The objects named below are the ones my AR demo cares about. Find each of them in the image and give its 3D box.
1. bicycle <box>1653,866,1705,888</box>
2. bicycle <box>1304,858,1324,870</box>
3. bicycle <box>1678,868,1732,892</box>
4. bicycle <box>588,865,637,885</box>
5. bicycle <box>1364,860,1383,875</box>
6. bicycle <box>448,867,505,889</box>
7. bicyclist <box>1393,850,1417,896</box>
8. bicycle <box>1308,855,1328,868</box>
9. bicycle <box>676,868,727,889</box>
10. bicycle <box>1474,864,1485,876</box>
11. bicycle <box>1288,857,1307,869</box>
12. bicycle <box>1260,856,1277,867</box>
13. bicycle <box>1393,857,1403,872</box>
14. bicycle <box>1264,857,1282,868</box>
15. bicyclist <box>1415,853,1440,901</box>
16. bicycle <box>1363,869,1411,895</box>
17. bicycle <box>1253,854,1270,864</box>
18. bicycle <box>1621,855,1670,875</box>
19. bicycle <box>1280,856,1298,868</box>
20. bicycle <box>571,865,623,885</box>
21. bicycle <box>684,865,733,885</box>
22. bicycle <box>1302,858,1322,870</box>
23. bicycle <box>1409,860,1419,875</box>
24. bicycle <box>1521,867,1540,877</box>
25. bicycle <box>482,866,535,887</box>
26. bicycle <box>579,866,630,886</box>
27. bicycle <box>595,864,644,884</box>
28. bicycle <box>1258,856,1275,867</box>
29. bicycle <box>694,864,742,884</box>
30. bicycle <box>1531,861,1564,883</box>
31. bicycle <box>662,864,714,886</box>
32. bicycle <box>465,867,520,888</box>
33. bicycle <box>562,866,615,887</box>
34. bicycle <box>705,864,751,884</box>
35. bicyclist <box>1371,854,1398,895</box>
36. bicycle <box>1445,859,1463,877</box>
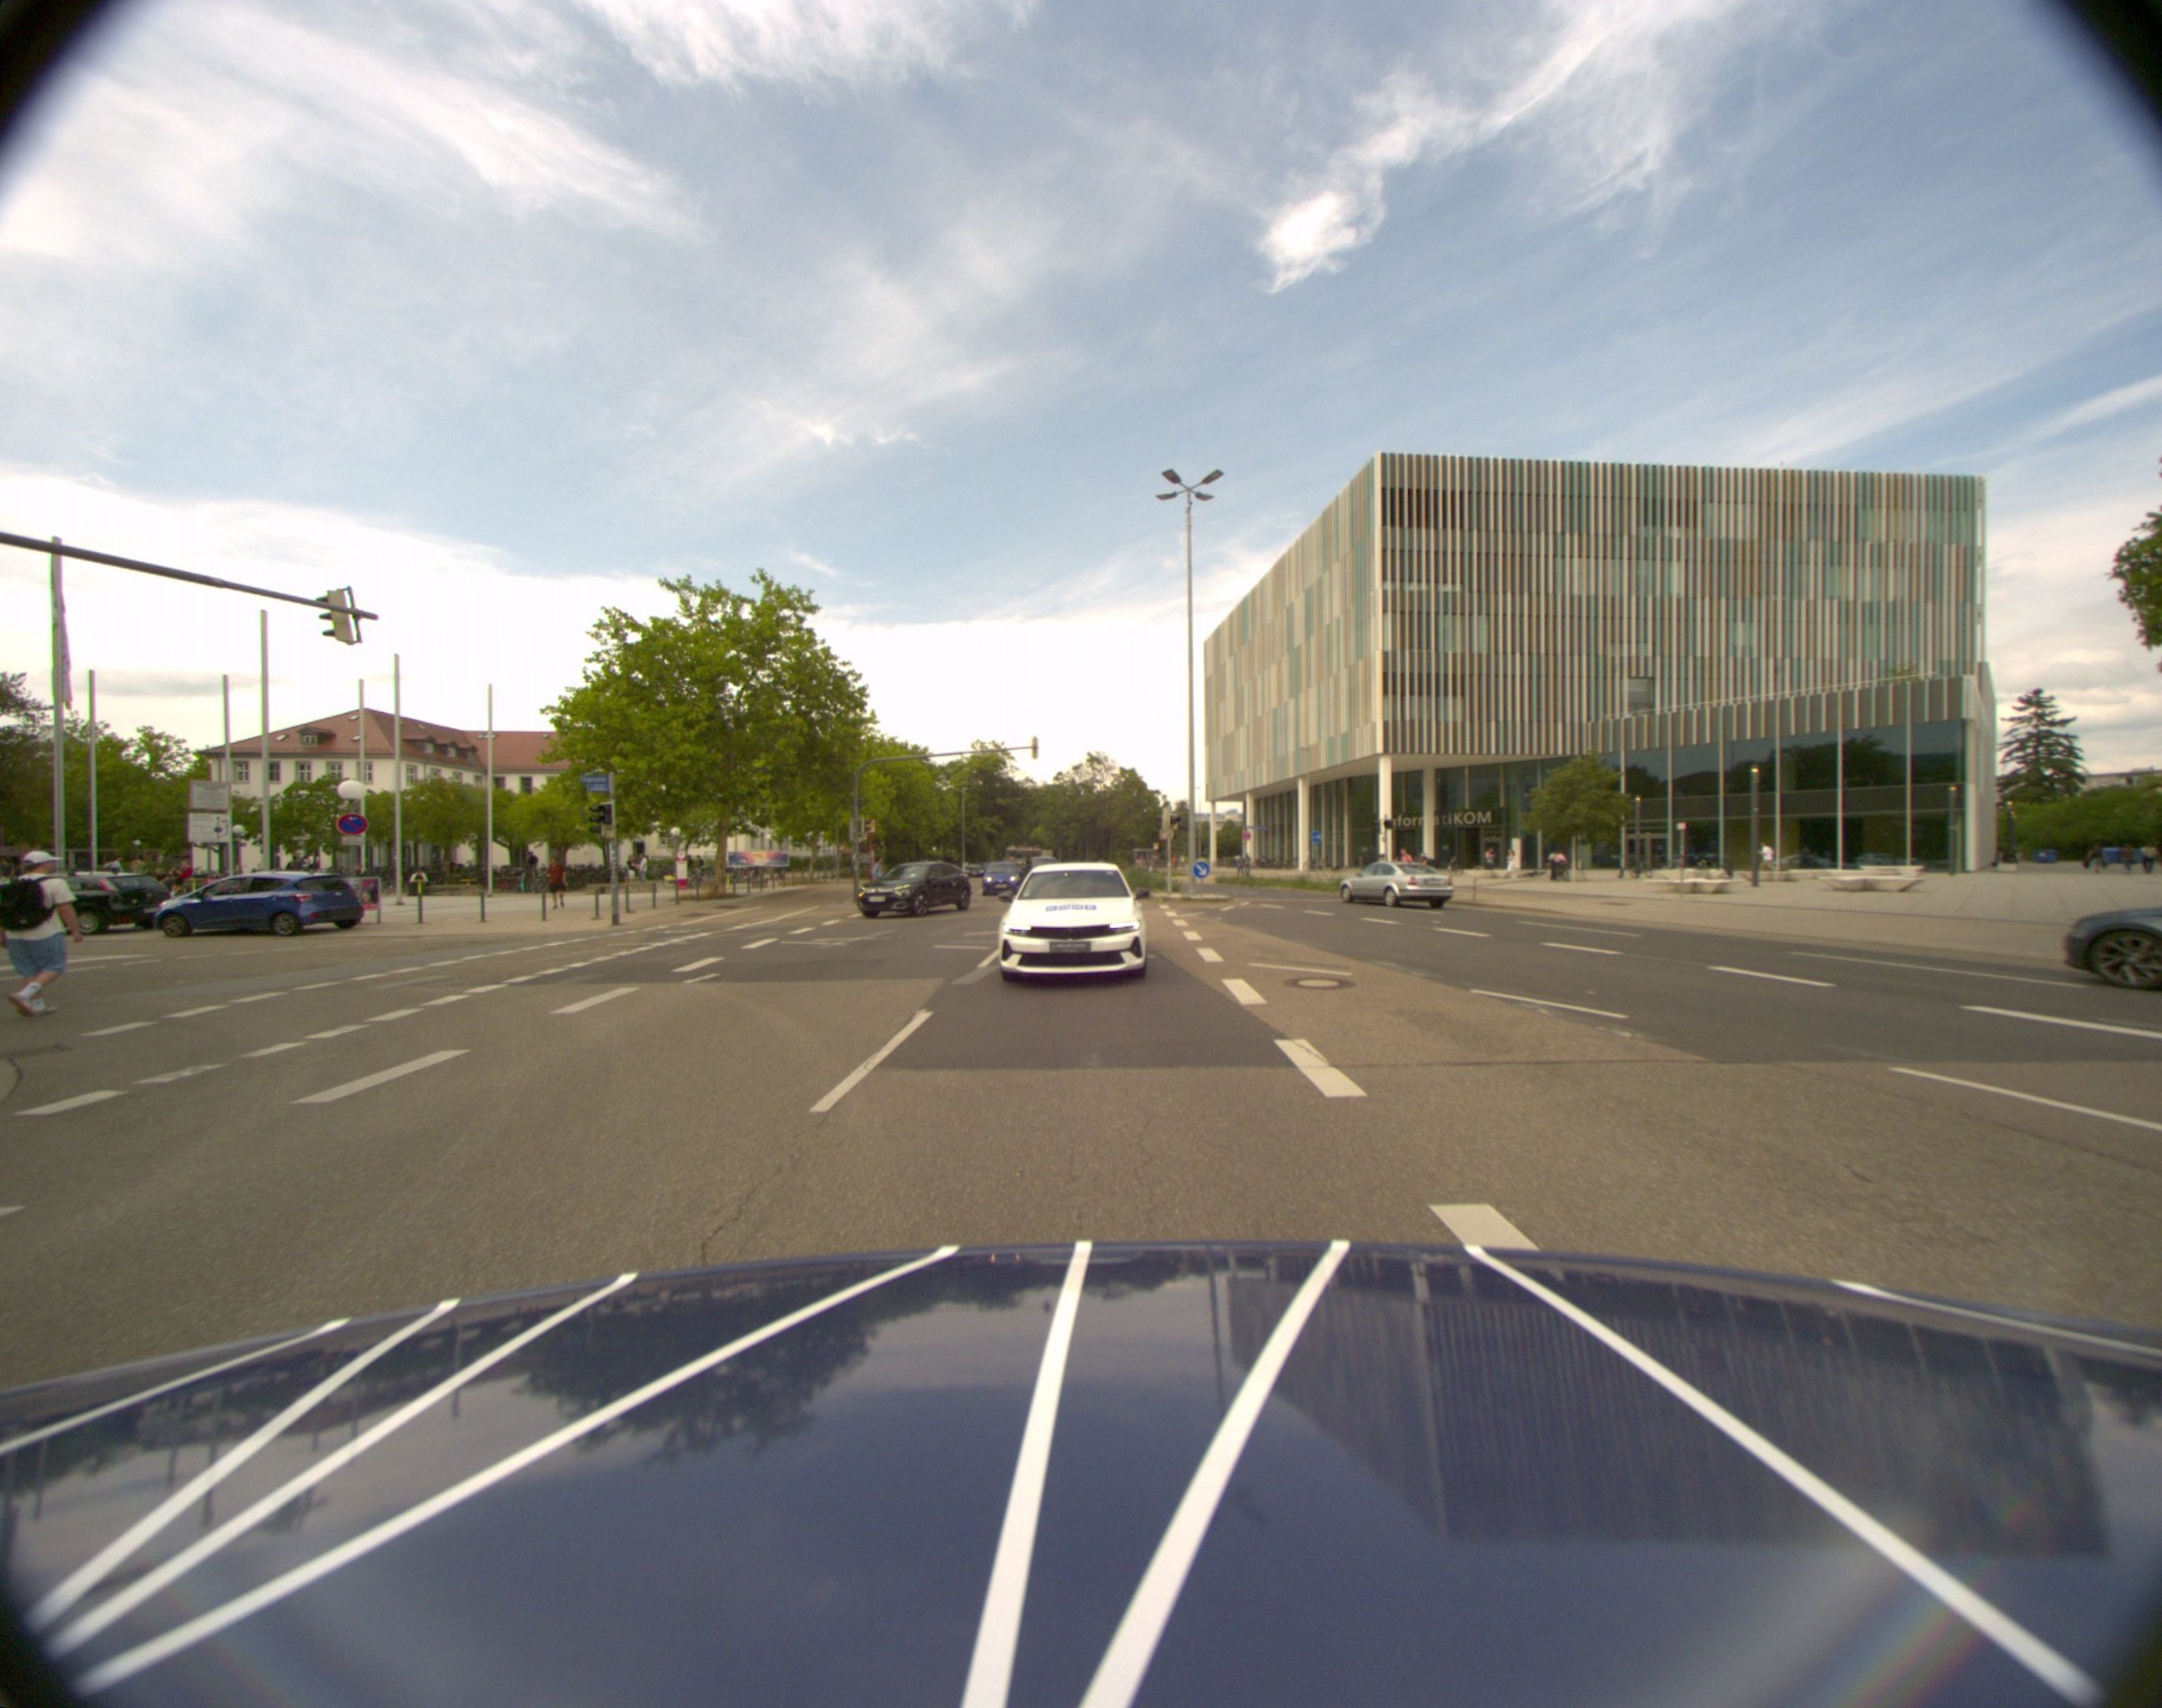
[{"bbox_3d":[30.527,1.157,38.786,2.685,1.083,0.796,-1,0,-20],"label":"bicycle"},{"bbox_3d":[19.139,0.815,62.324,1.546,0.932,0.394,-3,1,-10],"label":"bicycle"},{"bbox_3d":[30.858,1.285,37.556,2.685,1.083,0.796,-1,0,-20],"label":"bicycle"},{"bbox_3d":[-28.182,1.281,45.715,2.473,1.136,0.717,-1,1,-3],"label":"bicycle"},{"bbox_3d":[20.001,0.902,51.996,1.613,0.932,0.393,-3,1,-38],"label":"bicycle"},{"bbox_3d":[-33.127,1.329,41.678,2.473,1.136,0.717,-1,1,-3],"label":"bicycle"},{"bbox_3d":[12.851,0.743,30.154,0.602,1.796,0.561,-3,1,-18],"label":"bicyclist"},{"bbox_3d":[19.200,0.587,61.596,1.546,0.989,0.399,-3,1,-9],"label":"bicycle"},{"bbox_3d":[-21.762,1.394,43.588,2.473,1.136,0.717,-1,1,-3],"label":"bicycle"},{"bbox_3d":[24.471,0.973,46.637,0.393,0.669,1.799,-2,1,33],"label":"bicycle"},{"bbox_3d":[19.290,0.786,67.820,1.582,1.017,0.389,-3,1,-10],"label":"bicycle"},{"bbox_3d":[18.407,0.772,74.515,1.582,1.017,0.389,-3,1,-10],"label":"bicycle"},{"bbox_3d":[20.921,0.674,50.116,0.393,0.932,1.601,-2,1,29],"label":"bicycle"},{"bbox_3d":[18.335,0.796,72.614,1.582,1.017,0.389,-3,1,-10],"label":"bicycle"},{"bbox_3d":[13.109,0.863,28.749,0.602,1.796,0.561,-3,1,-18],"label":"bicyclist"},{"bbox_3d":[12.866,1.157,31.959,1.824,0.983,0.727,-2,1,-18],"label":"bicycle"},{"bbox_3d":[17.981,0.514,75.631,1.582,1.017,0.389,1,1,-10],"label":"bicycle"},{"bbox_3d":[29.625,0.578,39.881,2.685,0.993,0.672,-1,0,-20],"label":"bicycle"},{"bbox_3d":[19.121,0.763,69.849,1.582,1.017,0.389,-3,1,-10],"label":"bicycle"},{"bbox_3d":[-28.089,1.210,44.097,2.473,1.136,0.717,-1,1,-3],"label":"bicycle"},{"bbox_3d":[-21.828,1.241,44.552,2.473,1.136,0.717,-1,1,-3],"label":"bicycle"},{"bbox_3d":[19.220,0.802,63.122,1.546,0.932,0.389,-3,1,-10],"label":"bicycle"},{"bbox_3d":[21.717,0.862,49.552,0.393,0.932,1.601,-2,1,29],"label":"bicycle"},{"bbox_3d":[25.774,1.025,43.523,0.622,0.519,2.255,-1,0,38],"label":"bicycle"},{"bbox_3d":[-33.296,1.315,44.191,2.473,1.136,0.717,-1,1,-3],"label":"bicycle"},{"bbox_3d":[-28.138,1.283,44.893,2.473,1.136,0.717,-1,1,-3],"label":"bicycle"},{"bbox_3d":[-28.232,1.218,46.524,2.473,1.136,0.717,-1,1,-3],"label":"bicycle"},{"bbox_3d":[18.313,0.757,75.099,1.582,1.017,0.389,-3,1,-10],"label":"bicycle"},{"bbox_3d":[-21.734,1.188,45.475,2.473,1.136,0.717,-1,1,-3],"label":"bicycle"},{"bbox_3d":[21.754,0.815,35.455,0.440,0.993,1.748,-1,0,-1],"label":"bicycle"},{"bbox_3d":[-21.763,1.161,42.078,2.473,1.136,0.717,-1,1,-3],"label":"bicycle"},{"bbox_3d":[-33.202,1.322,42.873,2.473,1.136,0.717,-1,1,-3],"label":"bicycle"},{"bbox_3d":[-28.041,1.256,43.267,2.473,1.136,0.717,-1,1,-3],"label":"bicycle"},{"bbox_3d":[-21.517,1.230,46.343,2.473,1.136,0.717,-1,1,-3],"label":"bicycle"},{"bbox_3d":[12.735,0.863,31.915,0.729,1.663,0.722,-3,1,-18],"label":"bicyclist"},{"bbox_3d":[23.127,0.871,47.128,1.549,1.023,0.393,-3,1,-42],"label":"bicycle"}]
